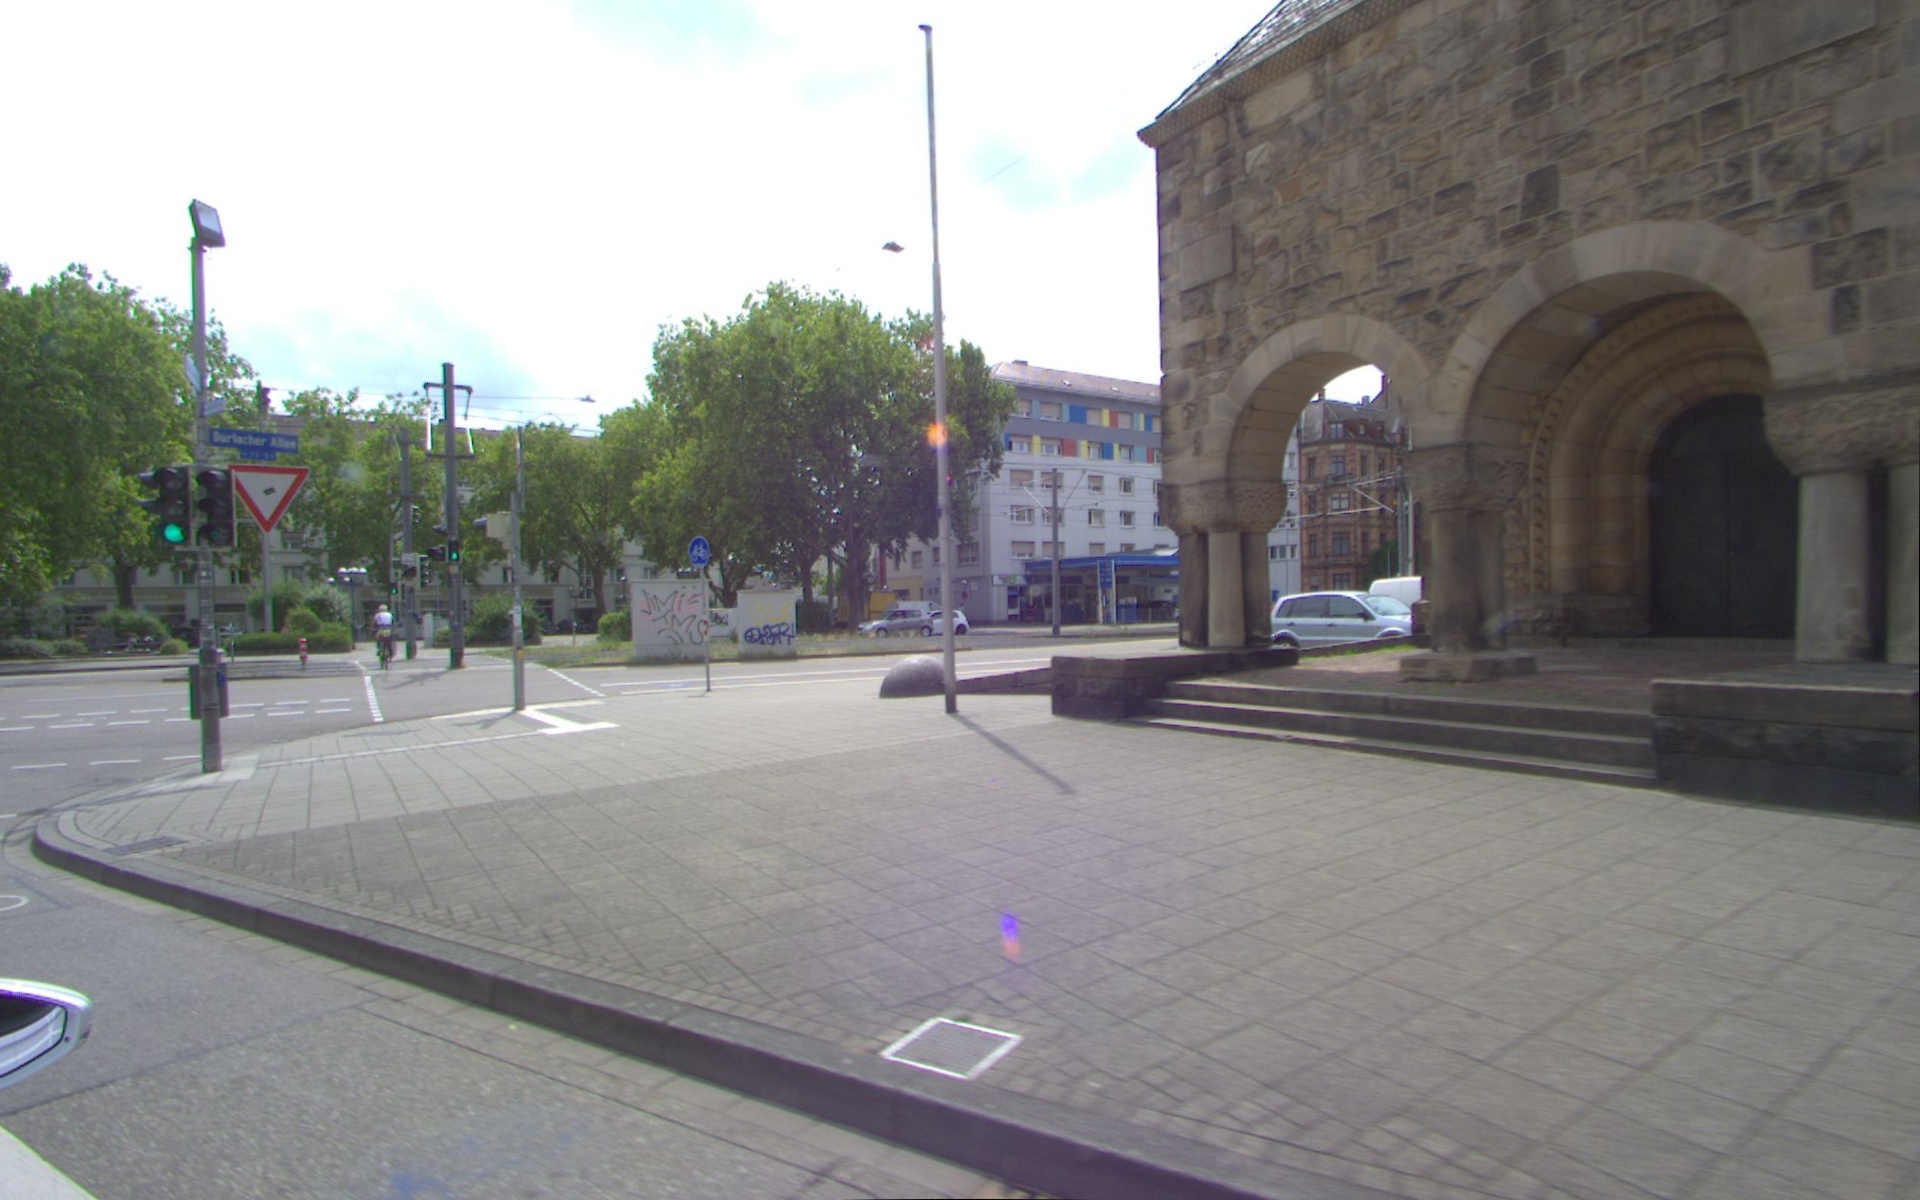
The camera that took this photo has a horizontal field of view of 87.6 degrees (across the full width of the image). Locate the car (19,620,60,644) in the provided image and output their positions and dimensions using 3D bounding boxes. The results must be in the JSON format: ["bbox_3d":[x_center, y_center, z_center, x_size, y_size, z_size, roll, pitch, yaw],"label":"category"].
[{"bbox_3d":[-69.172,2.355,75.292,1.787,1.706,3.973,-1,0,-35],"label":"car"}]

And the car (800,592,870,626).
[{"bbox_3d":[-10.165,0.737,81.509,5.268,2.618,2.166,-1,-1,-35],"label":"car"}]

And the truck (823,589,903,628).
[{"bbox_3d":[-7.003,0.614,71.573,3.040,2.611,6.469,-1,0,-34],"label":"truck"}]

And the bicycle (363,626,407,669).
[{"bbox_3d":[-15.392,1.251,26.783,0.894,1.089,1.957,-1,0,-34],"label":"bicycle"}]

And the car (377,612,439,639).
[{"bbox_3d":[-41.324,1.918,75.007,3.946,1.908,1.846,-1,0,-33],"label":"car"}]

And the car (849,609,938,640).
[{"bbox_3d":[-3.177,1.171,48.023,3.941,1.418,1.618,-1,-1,-29],"label":"car"}]

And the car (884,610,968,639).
[{"bbox_3d":[-1.782,1.272,52.667,4.020,1.432,1.751,-1,-2,-29],"label":"car"}]

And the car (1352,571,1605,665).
[{"bbox_3d":[10.780,0.364,21.151,1.925,1.748,4.395,-1,0,-33],"label":"car"}]

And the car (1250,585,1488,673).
[{"bbox_3d":[8.046,0.541,20.028,1.992,1.563,4.003,-1,0,-33],"label":"car"}]

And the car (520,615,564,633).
[{"bbox_3d":[-35.732,2.042,85.577,3.950,1.523,1.760,-1,0,38],"label":"car"}]

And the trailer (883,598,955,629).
[{"bbox_3d":[-2.687,0.860,65.504,4.376,1.951,1.843,-1,0,-33],"label":"trailer"}]

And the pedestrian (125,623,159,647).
[{"bbox_3d":[-44.577,1.898,54.594,1.423,1.252,1.087,-2,1,37],"label":"pedestrian"}]

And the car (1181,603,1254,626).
[{"bbox_3d":[16.805,0.933,65.335,4.730,1.418,1.751,-1,-2,-29],"label":"car"}]

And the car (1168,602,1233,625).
[{"bbox_3d":[17.701,0.998,73.579,4.553,1.534,1.985,-1,-2,-31],"label":"car"}]

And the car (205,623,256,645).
[{"bbox_3d":[-53.449,2.504,73.372,3.950,1.523,1.986,-1,0,37],"label":"car"}]

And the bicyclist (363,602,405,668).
[{"bbox_3d":[-15.381,0.924,26.739,0.895,1.705,0.752,-1,0,-34],"label":"bicyclist"}]
